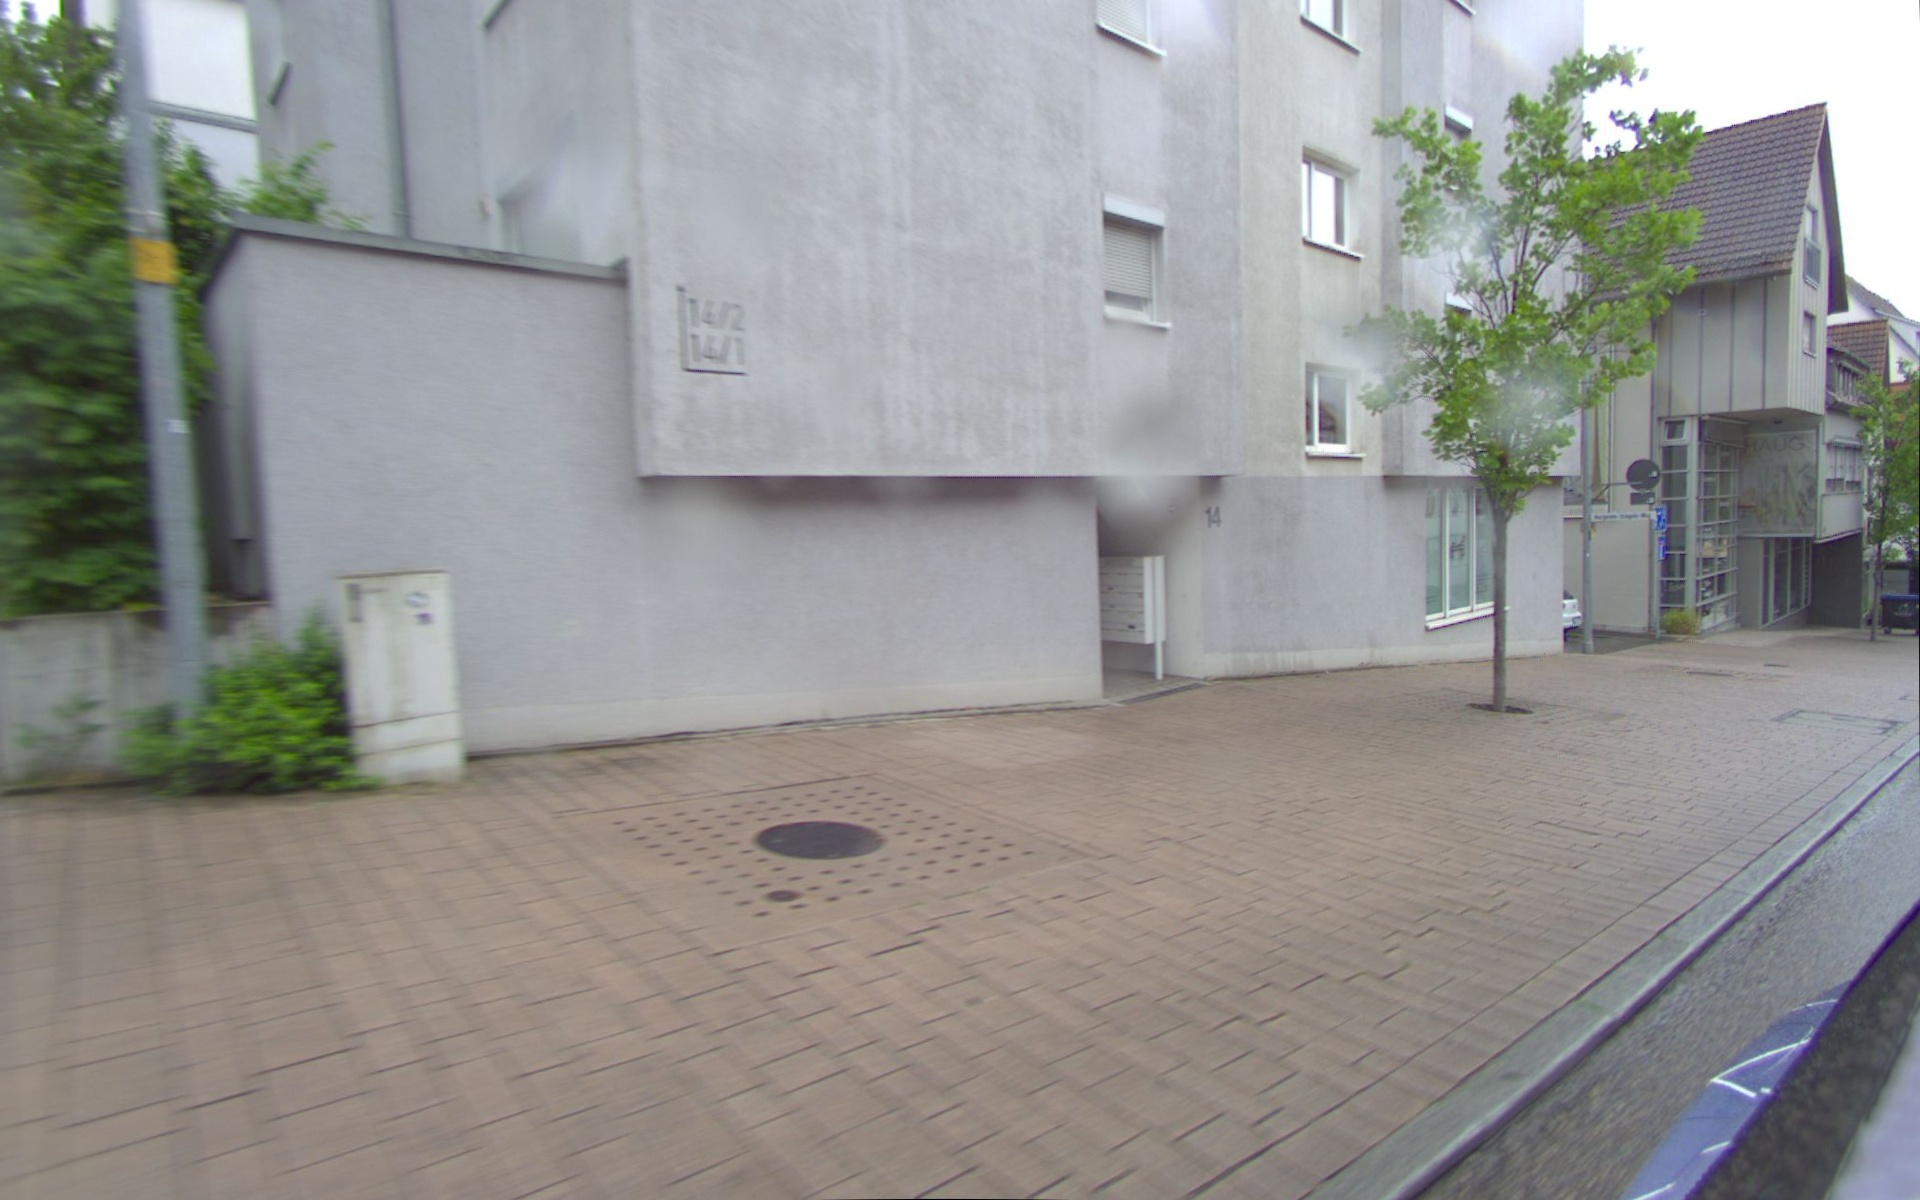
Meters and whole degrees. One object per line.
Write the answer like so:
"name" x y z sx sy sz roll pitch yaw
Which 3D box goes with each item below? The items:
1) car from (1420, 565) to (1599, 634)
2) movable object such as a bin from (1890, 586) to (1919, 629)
"car" 14.613 -0.074 27.051 1.714 1.471 3.771 -2 6 -41
"movable object such as a bin" 31.605 0.250 33.325 1.151 1.351 1.238 0 3 -39
